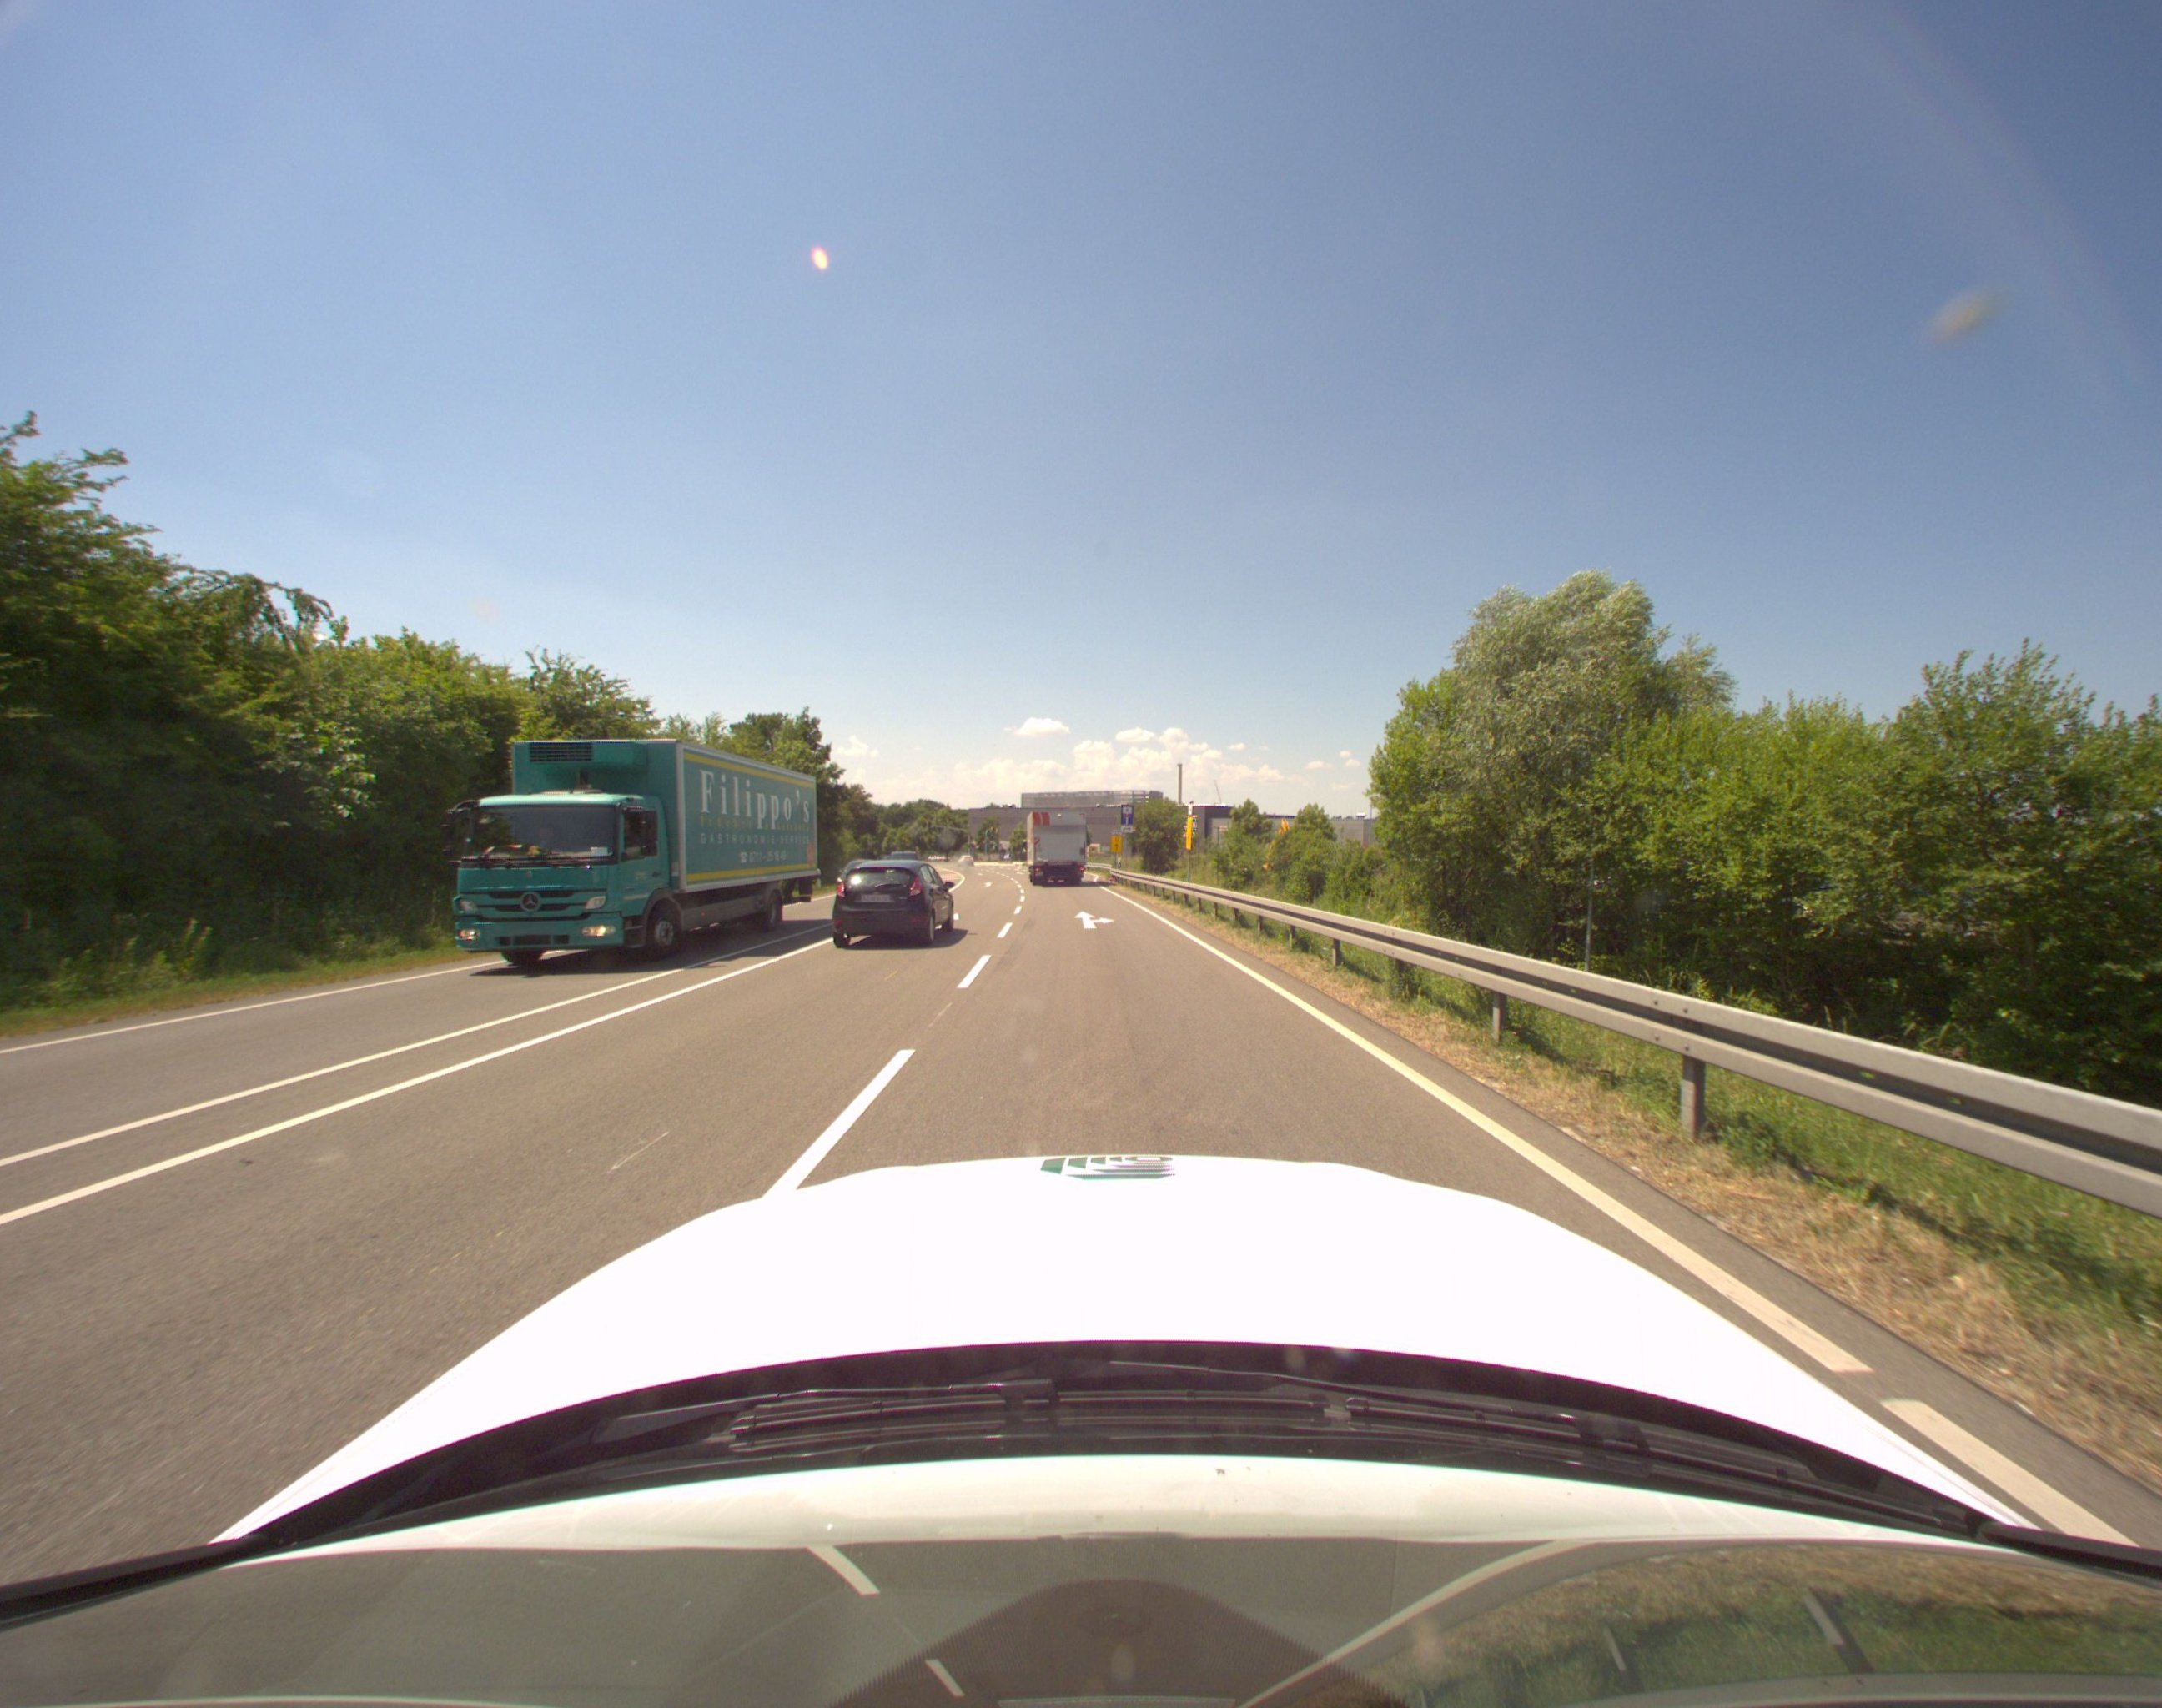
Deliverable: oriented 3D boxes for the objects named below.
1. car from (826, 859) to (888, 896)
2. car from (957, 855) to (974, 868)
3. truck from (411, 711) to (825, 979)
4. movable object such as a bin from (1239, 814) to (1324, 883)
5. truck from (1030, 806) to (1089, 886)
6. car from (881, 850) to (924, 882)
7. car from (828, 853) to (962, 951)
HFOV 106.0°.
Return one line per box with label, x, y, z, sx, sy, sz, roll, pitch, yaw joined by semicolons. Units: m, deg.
car;-9.545;0.968;34.991;1.875;1.442;4.319;-1;0;-7
car;-16.215;1.057;114.217;1.946;1.664;3.982;2;0;-14
truck;-7.703;-0.137;15.679;2.862;3.574;9.422;-1;0;-2
movable object such as a bin;16.415;-0.606;67.556;3.423;5.260;9.202;1;2;-9
truck;-1.261;-0.436;42.564;2.797;3.710;9.097;0;1;-3
car;-11.387;0.742;52.276;1.990;1.894;5.095;-1;0;-5
car;-3.330;0.781;15.359;1.648;1.493;4.206;0;1;-1
